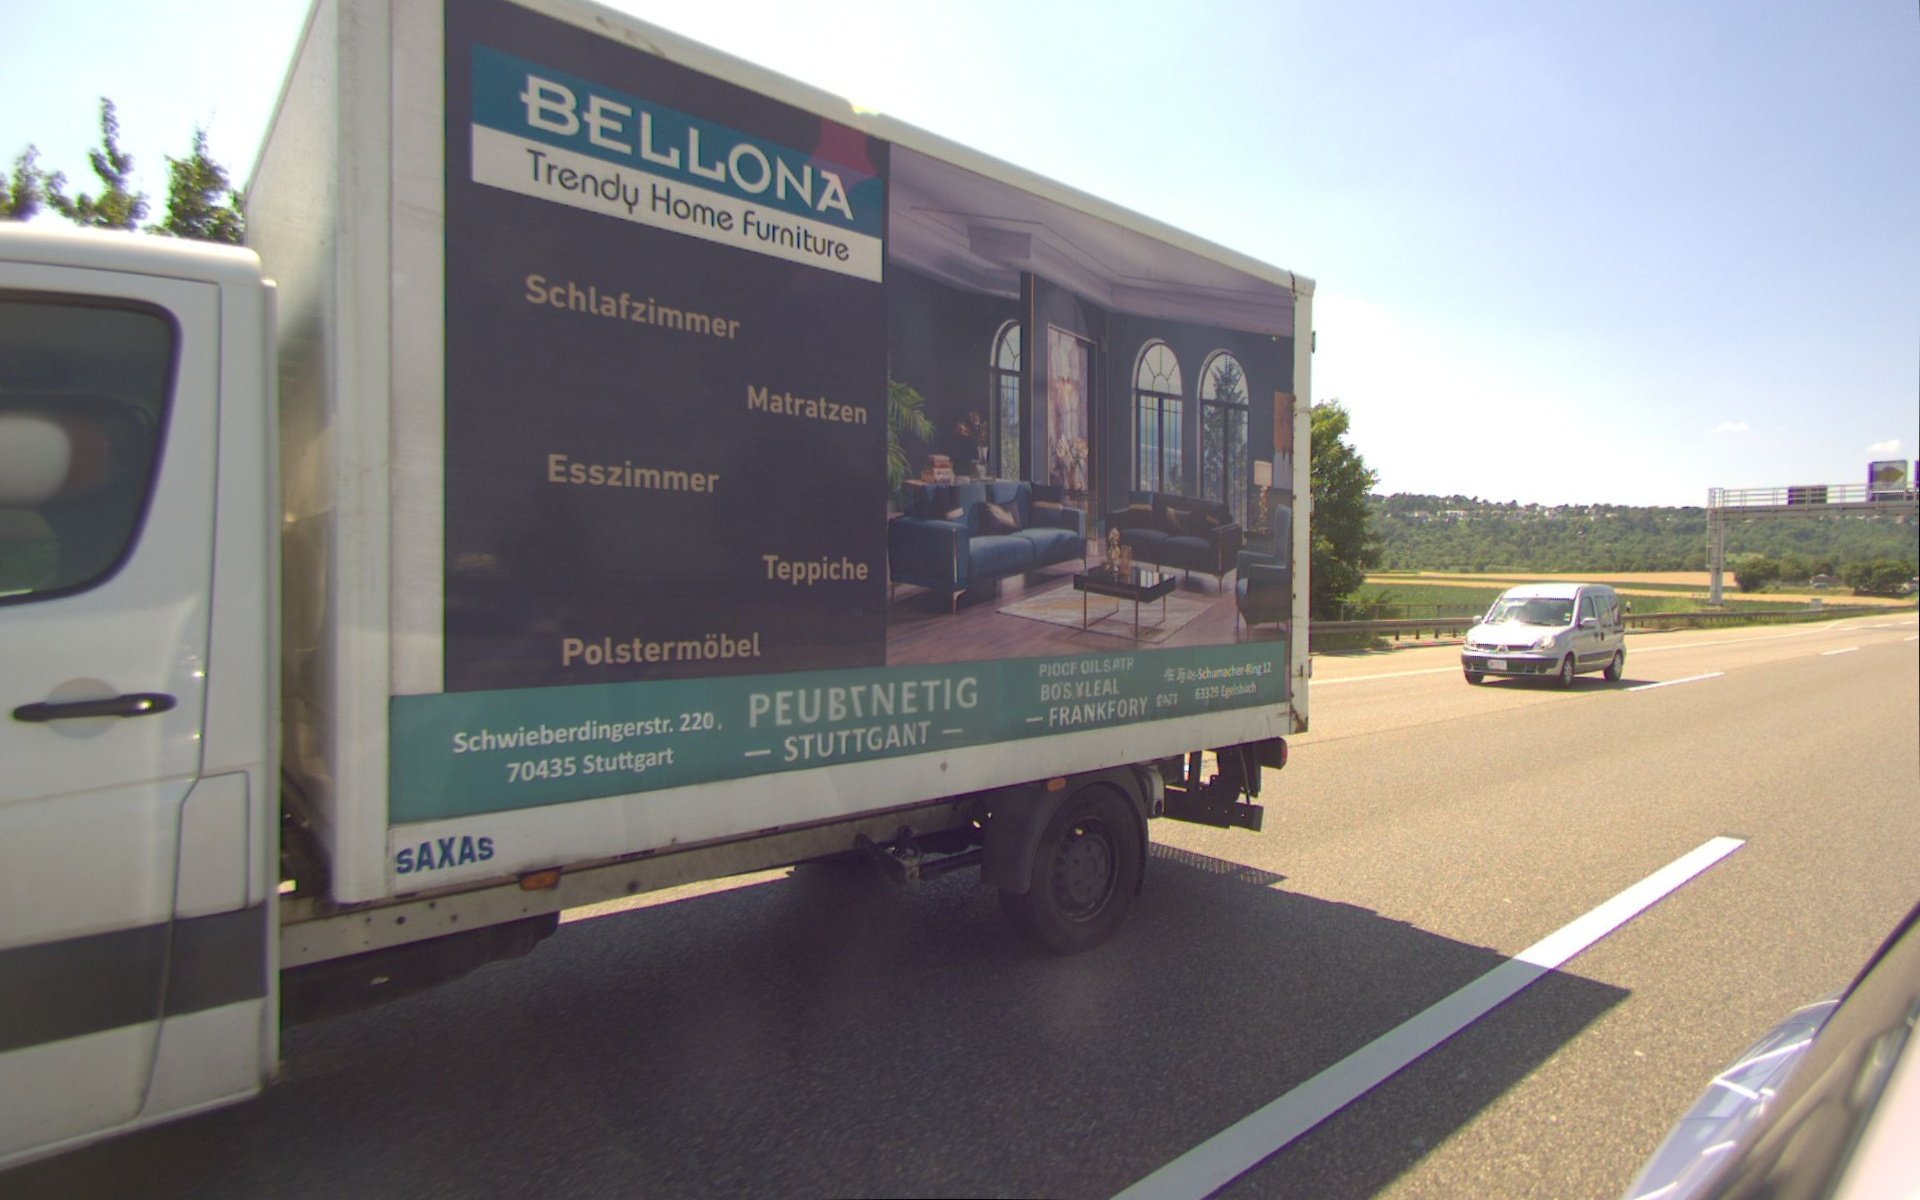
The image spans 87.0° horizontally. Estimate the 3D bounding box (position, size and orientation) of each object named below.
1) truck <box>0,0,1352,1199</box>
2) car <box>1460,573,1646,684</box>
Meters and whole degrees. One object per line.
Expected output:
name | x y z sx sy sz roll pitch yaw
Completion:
truck | -1.244 -0.169 3.862 6.633 3.106 2.324 0 0 -41
car | 10.516 0.451 17.848 3.902 1.759 1.630 0 0 -40
